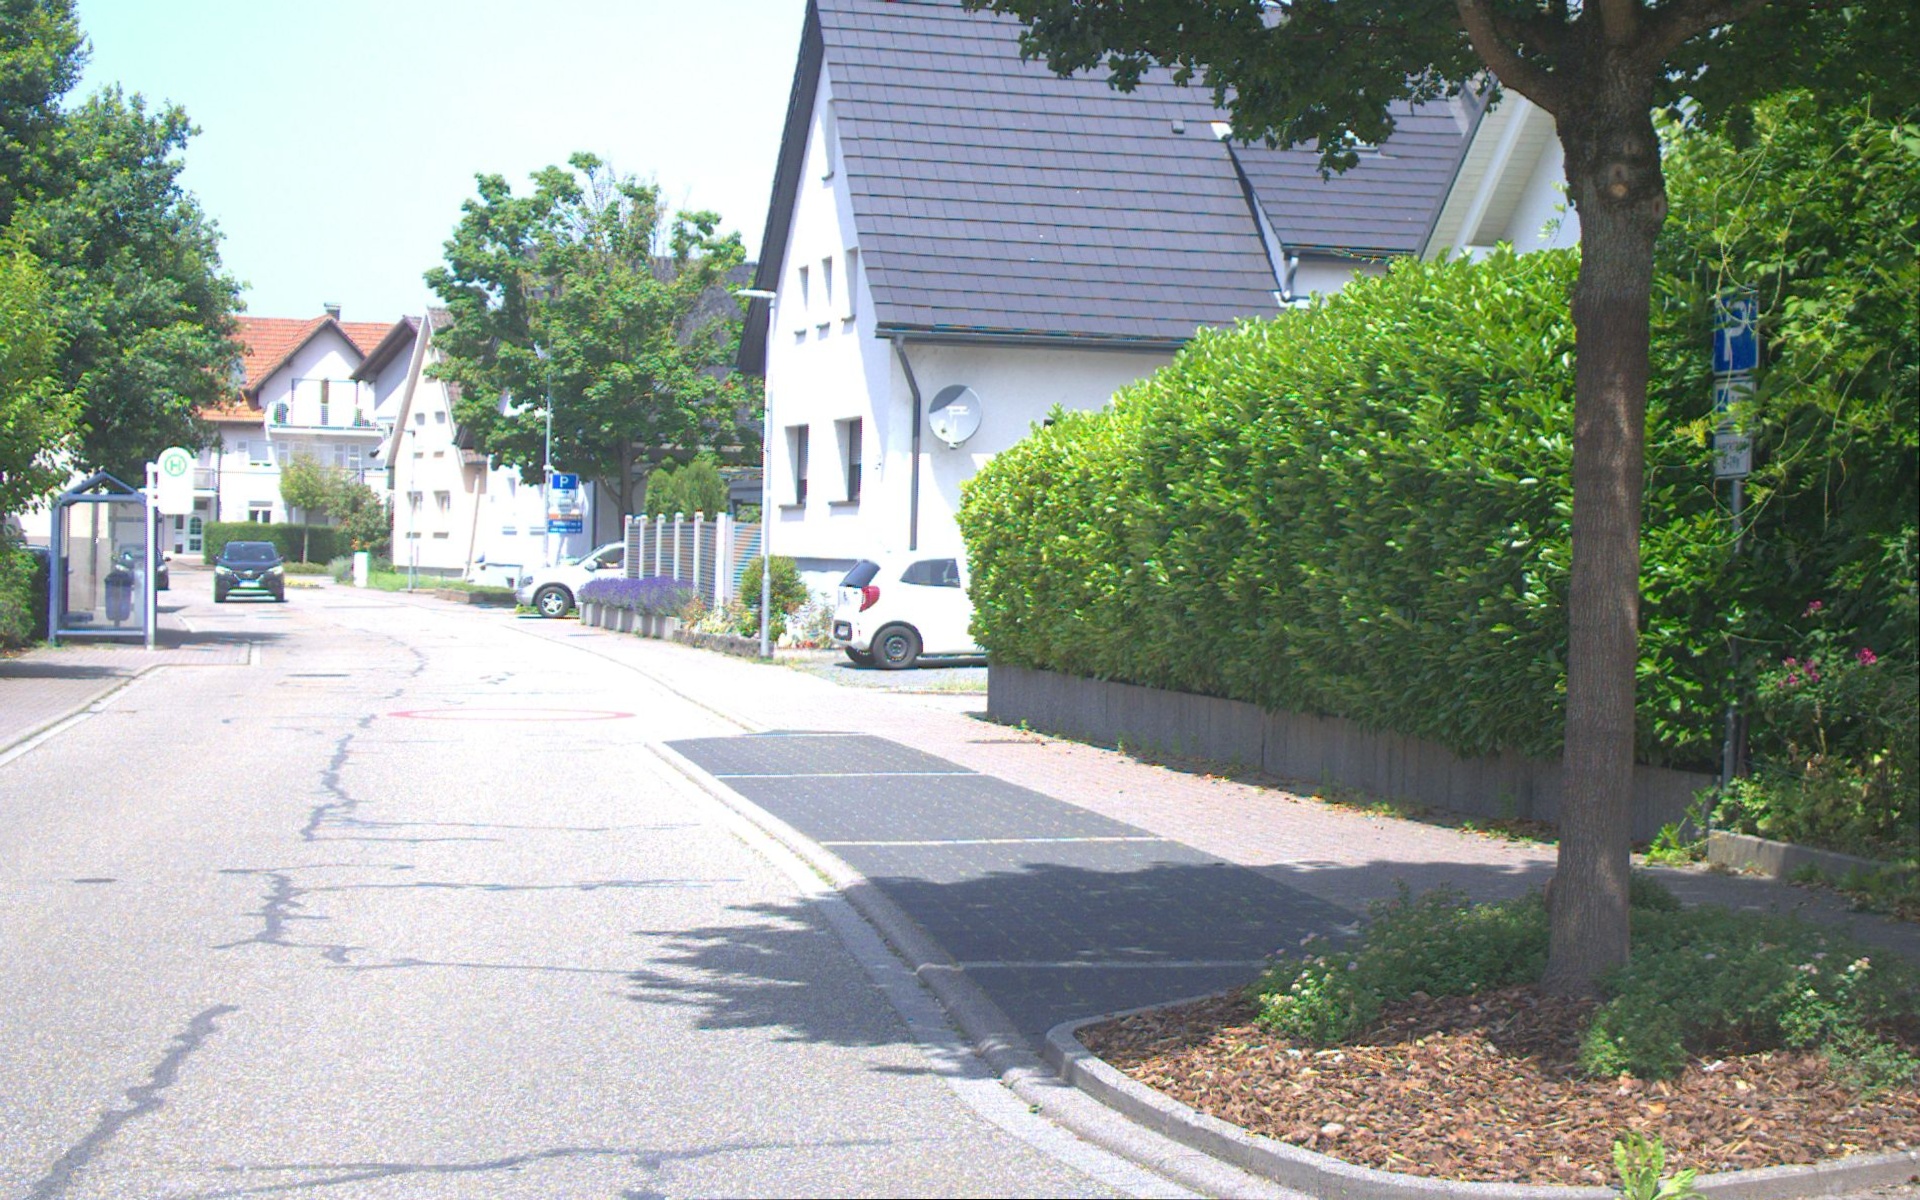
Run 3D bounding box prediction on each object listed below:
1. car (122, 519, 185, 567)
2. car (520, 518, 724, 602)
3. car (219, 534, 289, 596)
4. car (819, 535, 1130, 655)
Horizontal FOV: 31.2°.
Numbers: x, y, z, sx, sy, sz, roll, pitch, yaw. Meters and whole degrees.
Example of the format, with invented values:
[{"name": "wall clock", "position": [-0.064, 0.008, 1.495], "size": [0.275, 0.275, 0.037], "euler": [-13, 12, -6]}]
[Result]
[{"name": "car", "position": [-25.745, -1.839, 109.712], "size": [1.626, 1.481, 4.001], "euler": [0, 1, -18]}, {"name": "car", "position": [-7.484, -0.889, 75.982], "size": [4.315, 1.761, 1.892], "euler": [-1, 3, -11]}, {"name": "car", "position": [-18.887, -0.953, 91.871], "size": [1.775, 1.618, 4.106], "euler": [0, 1, -12]}, {"name": "car", "position": [0.168, -0.089, 44.397], "size": [3.656, 1.469, 1.766], "euler": [0, 2, -16]}]
